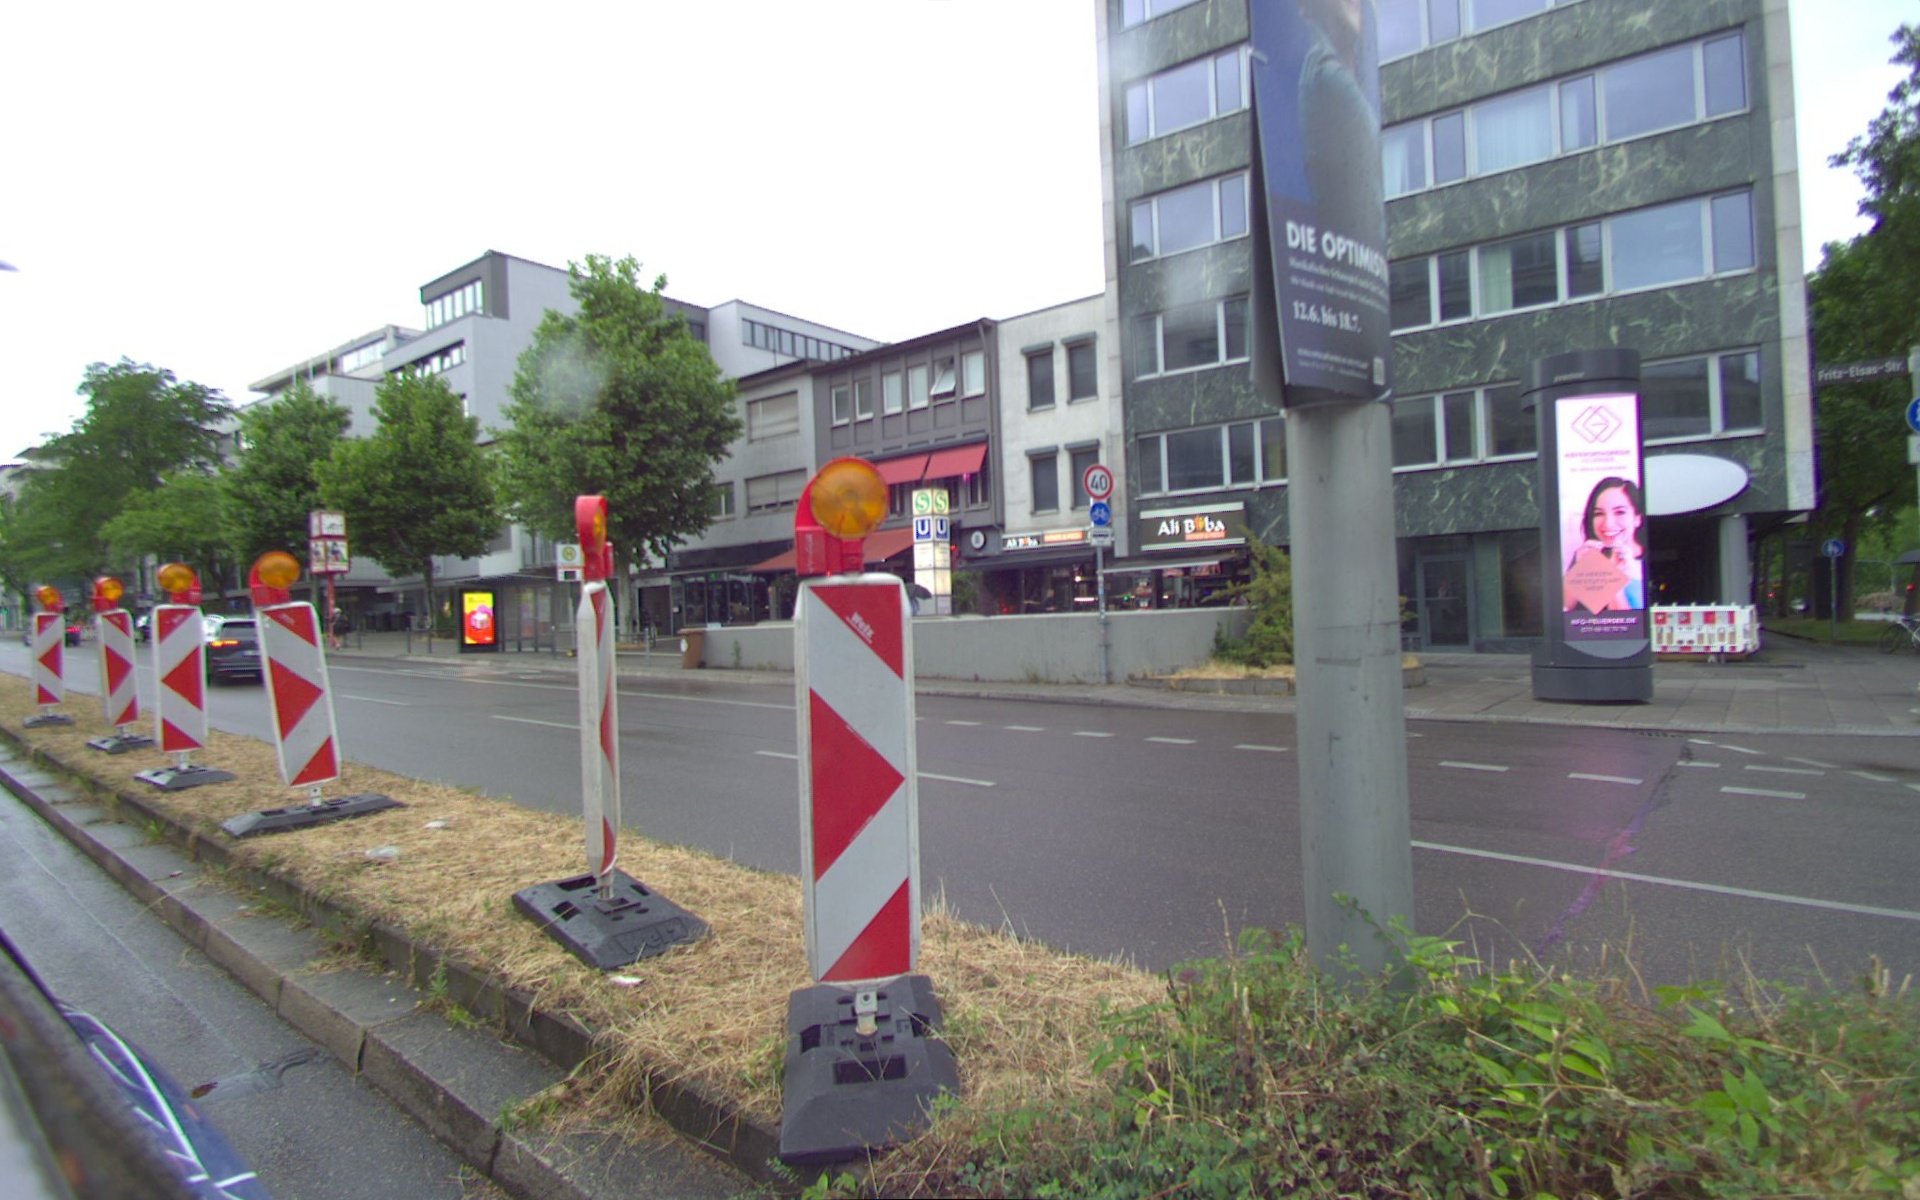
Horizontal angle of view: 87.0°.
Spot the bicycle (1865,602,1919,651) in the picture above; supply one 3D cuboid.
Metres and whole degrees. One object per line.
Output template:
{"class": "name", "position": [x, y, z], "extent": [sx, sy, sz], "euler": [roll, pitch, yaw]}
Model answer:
{"class": "bicycle", "position": [21.263, 0.587, 22.389], "extent": [1.780, 1.060, 0.579], "euler": [-1, -1, 37]}

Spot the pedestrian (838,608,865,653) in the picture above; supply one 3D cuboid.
{"class": "pedestrian", "position": [-3.754, 1.037, 35.016], "extent": [0.611, 1.540, 0.660], "euler": [-2, -1, 44]}

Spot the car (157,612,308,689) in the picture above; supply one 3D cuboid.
{"class": "car", "position": [-16.085, 1.065, 22.291], "extent": [4.287, 1.522, 1.671], "euler": [-2, -1, 39]}

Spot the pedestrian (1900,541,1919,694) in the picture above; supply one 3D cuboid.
{"class": "pedestrian", "position": [13.042, 0.227, 13.361], "extent": [0.588, 2.029, 0.730], "euler": [0, -1, -29]}

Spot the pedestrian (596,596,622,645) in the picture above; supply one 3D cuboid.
{"class": "pedestrian", "position": [-14.603, 0.846, 42.116], "extent": [0.764, 2.029, 0.768], "euler": [-1, 0, -41]}

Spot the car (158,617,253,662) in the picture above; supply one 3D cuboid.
{"class": "car", "position": [-25.536, 1.343, 34.217], "extent": [4.210, 1.442, 1.670], "euler": [-3, -2, 40]}

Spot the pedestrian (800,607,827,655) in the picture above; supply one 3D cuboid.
{"class": "pedestrian", "position": [-4.854, 1.020, 33.552], "extent": [0.611, 1.540, 0.660], "euler": [-2, -1, 44]}

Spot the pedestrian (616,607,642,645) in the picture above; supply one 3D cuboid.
{"class": "pedestrian", "position": [-13.989, 1.106, 42.761], "extent": [0.764, 1.577, 0.768], "euler": [-1, 0, -41]}

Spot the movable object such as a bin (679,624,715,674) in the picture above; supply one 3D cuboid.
{"class": "movable object such as a bin", "position": [-6.101, 1.125, 23.450], "extent": [0.660, 1.109, 0.501], "euler": [-1, 0, 39]}

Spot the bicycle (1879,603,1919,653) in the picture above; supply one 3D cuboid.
{"class": "bicycle", "position": [20.787, 0.592, 21.507], "extent": [1.780, 1.060, 0.579], "euler": [-1, -1, 37]}

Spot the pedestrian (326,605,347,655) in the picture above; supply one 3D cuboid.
{"class": "pedestrian", "position": [-23.509, 1.112, 38.141], "extent": [0.567, 1.839, 0.581], "euler": [-1, 0, -43]}

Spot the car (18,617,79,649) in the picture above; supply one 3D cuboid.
{"class": "car", "position": [-47.154, 1.663, 52.306], "extent": [4.415, 1.566, 1.671], "euler": [-1, 0, 39]}

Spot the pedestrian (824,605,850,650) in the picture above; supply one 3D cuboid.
{"class": "pedestrian", "position": [-4.316, 0.970, 35.507], "extent": [0.611, 1.540, 0.660], "euler": [-2, -1, 44]}

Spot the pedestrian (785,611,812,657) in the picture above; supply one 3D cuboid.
{"class": "pedestrian", "position": [-5.468, 1.134, 34.337], "extent": [0.611, 1.540, 0.660], "euler": [-2, -1, 44]}
